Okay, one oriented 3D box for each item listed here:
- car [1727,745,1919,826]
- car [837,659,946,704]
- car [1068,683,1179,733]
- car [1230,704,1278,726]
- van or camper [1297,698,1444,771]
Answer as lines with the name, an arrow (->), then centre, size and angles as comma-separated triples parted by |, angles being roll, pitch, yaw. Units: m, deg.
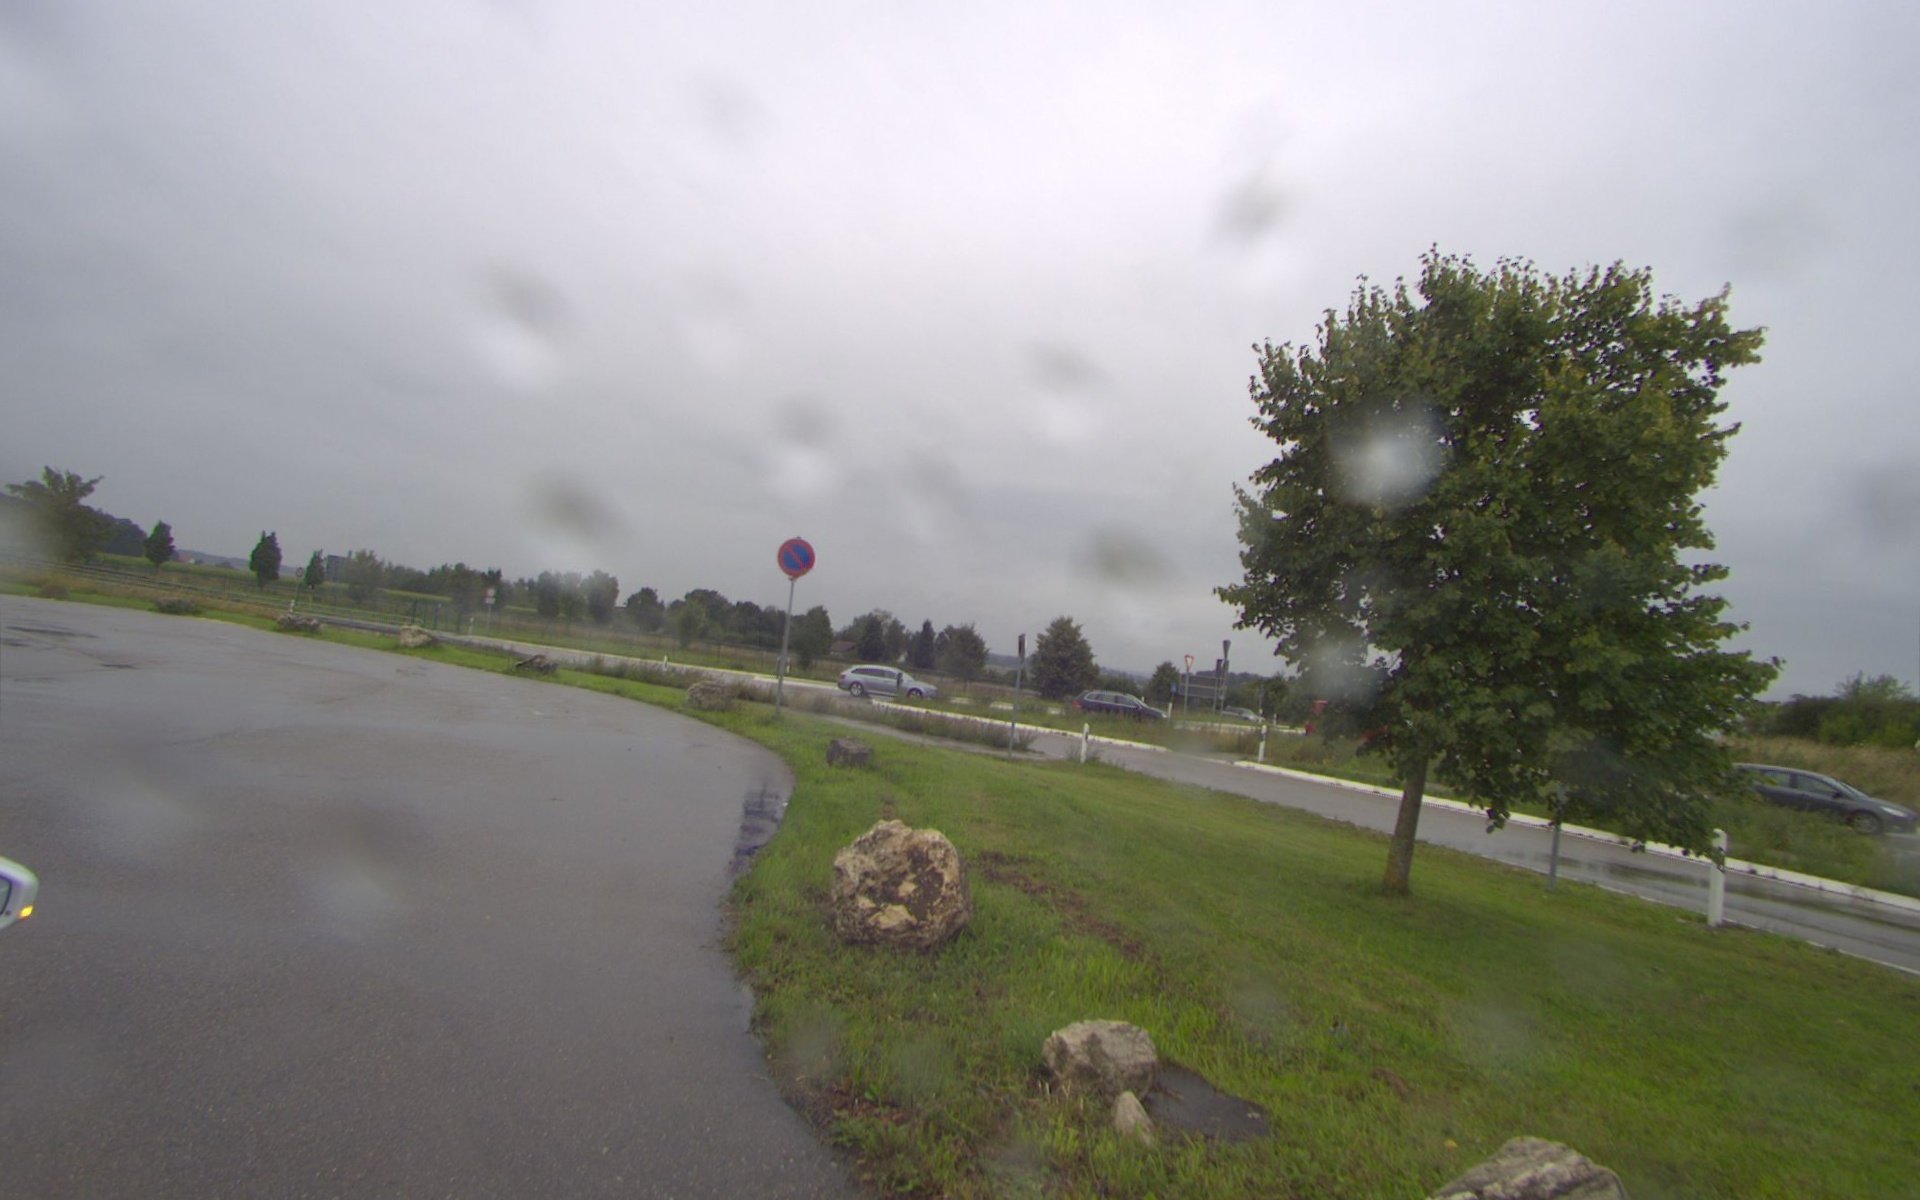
car -> 23.936, 5.064, 27.898 | 1.814, 1.608, 3.957 | 7, -4, -42
car -> -3.163, 3.753, 46.744 | 4.573, 1.499, 2.002 | 6, -2, 11
car -> 7.226, 4.768, 44.378 | 4.439, 1.620, 2.004 | 6, -4, 18
car -> 24.975, 9.761, 85.577 | 1.730, 1.340, 4.296 | 5, -3, -18
van or camper -> 15.810, 5.128, 38.872 | 4.778, 2.038, 1.992 | 5, -1, 40
